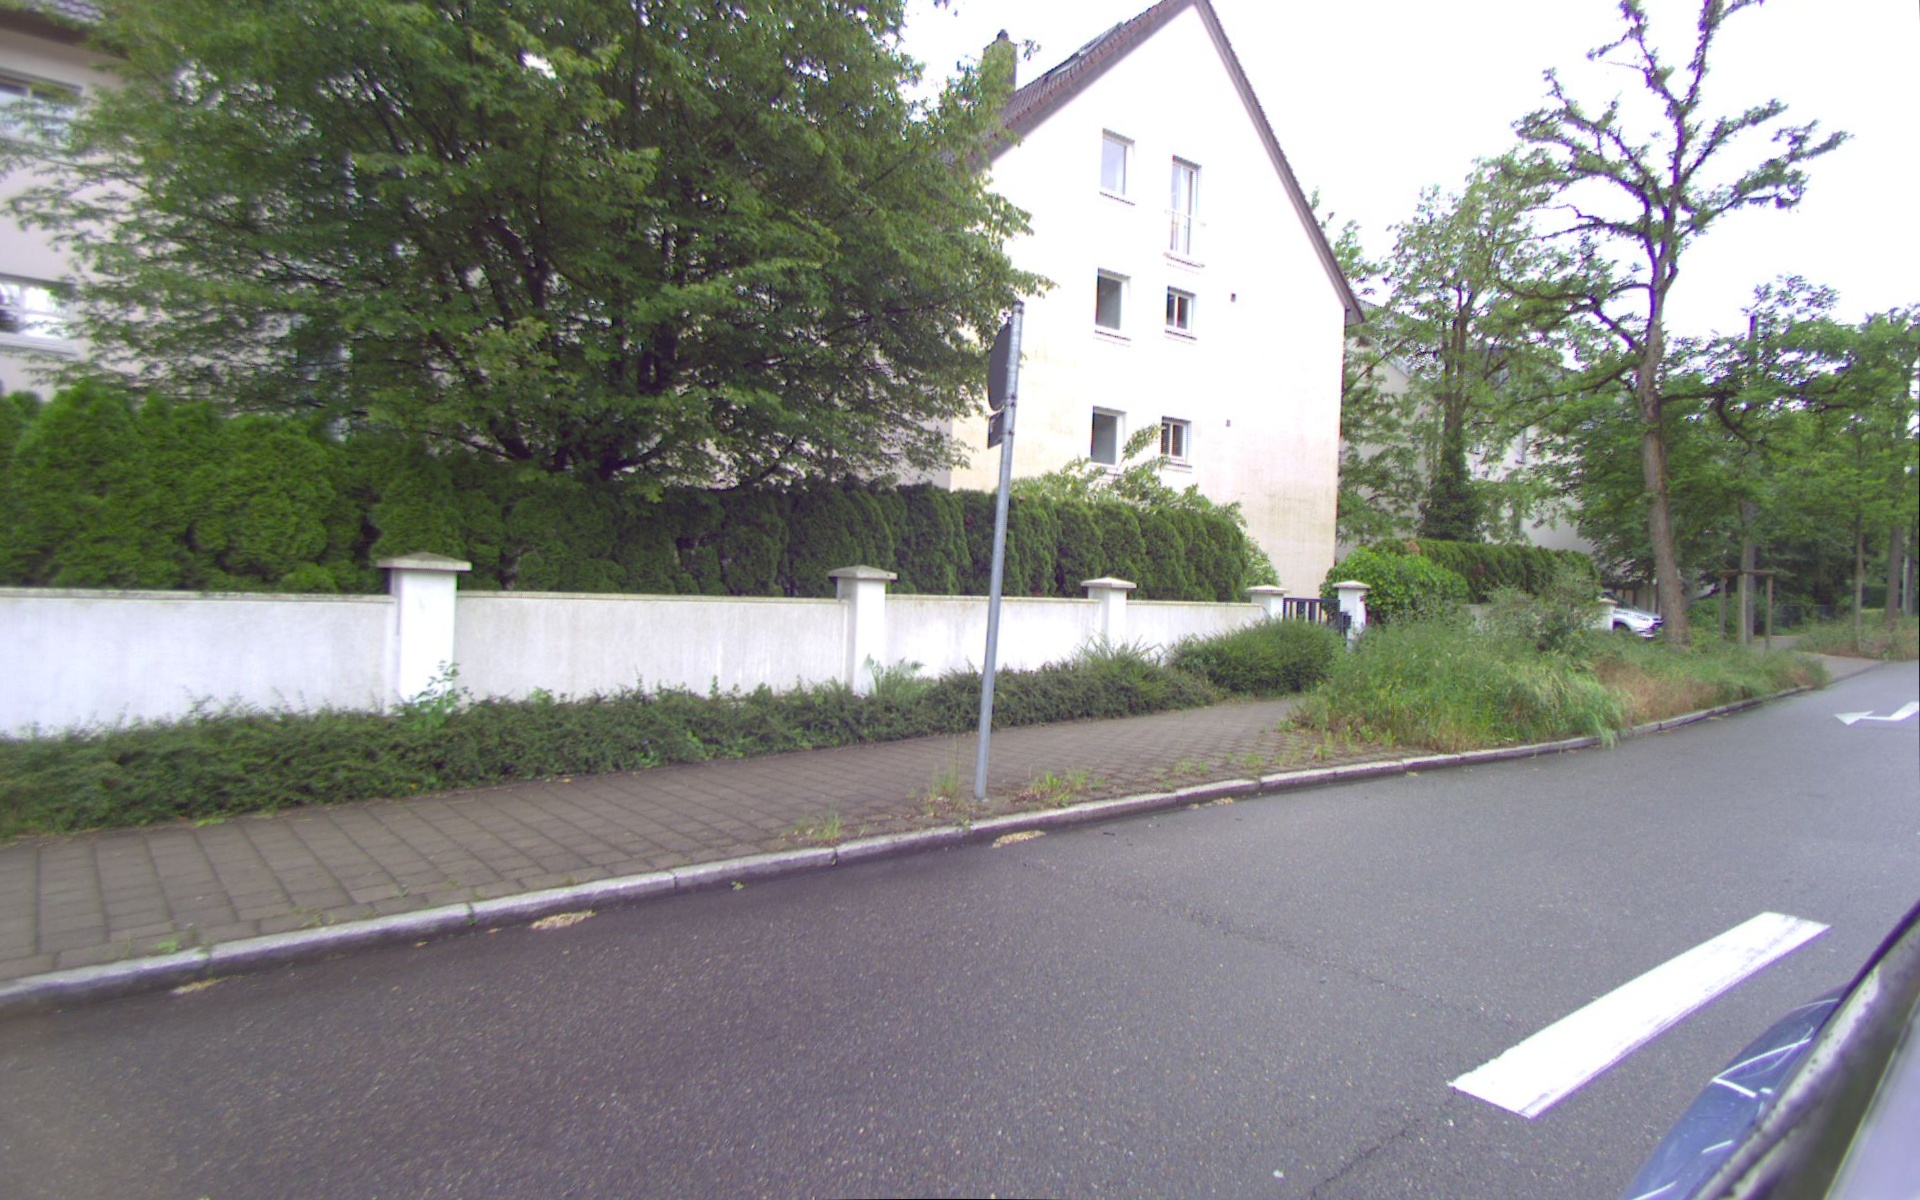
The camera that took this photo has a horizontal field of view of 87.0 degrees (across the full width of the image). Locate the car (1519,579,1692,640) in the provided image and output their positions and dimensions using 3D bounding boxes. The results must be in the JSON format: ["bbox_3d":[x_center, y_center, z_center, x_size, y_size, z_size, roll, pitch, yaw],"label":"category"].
[{"bbox_3d":[20.683,0.249,32.613,1.837,1.840,4.322,1,1,-31],"label":"car"}]
